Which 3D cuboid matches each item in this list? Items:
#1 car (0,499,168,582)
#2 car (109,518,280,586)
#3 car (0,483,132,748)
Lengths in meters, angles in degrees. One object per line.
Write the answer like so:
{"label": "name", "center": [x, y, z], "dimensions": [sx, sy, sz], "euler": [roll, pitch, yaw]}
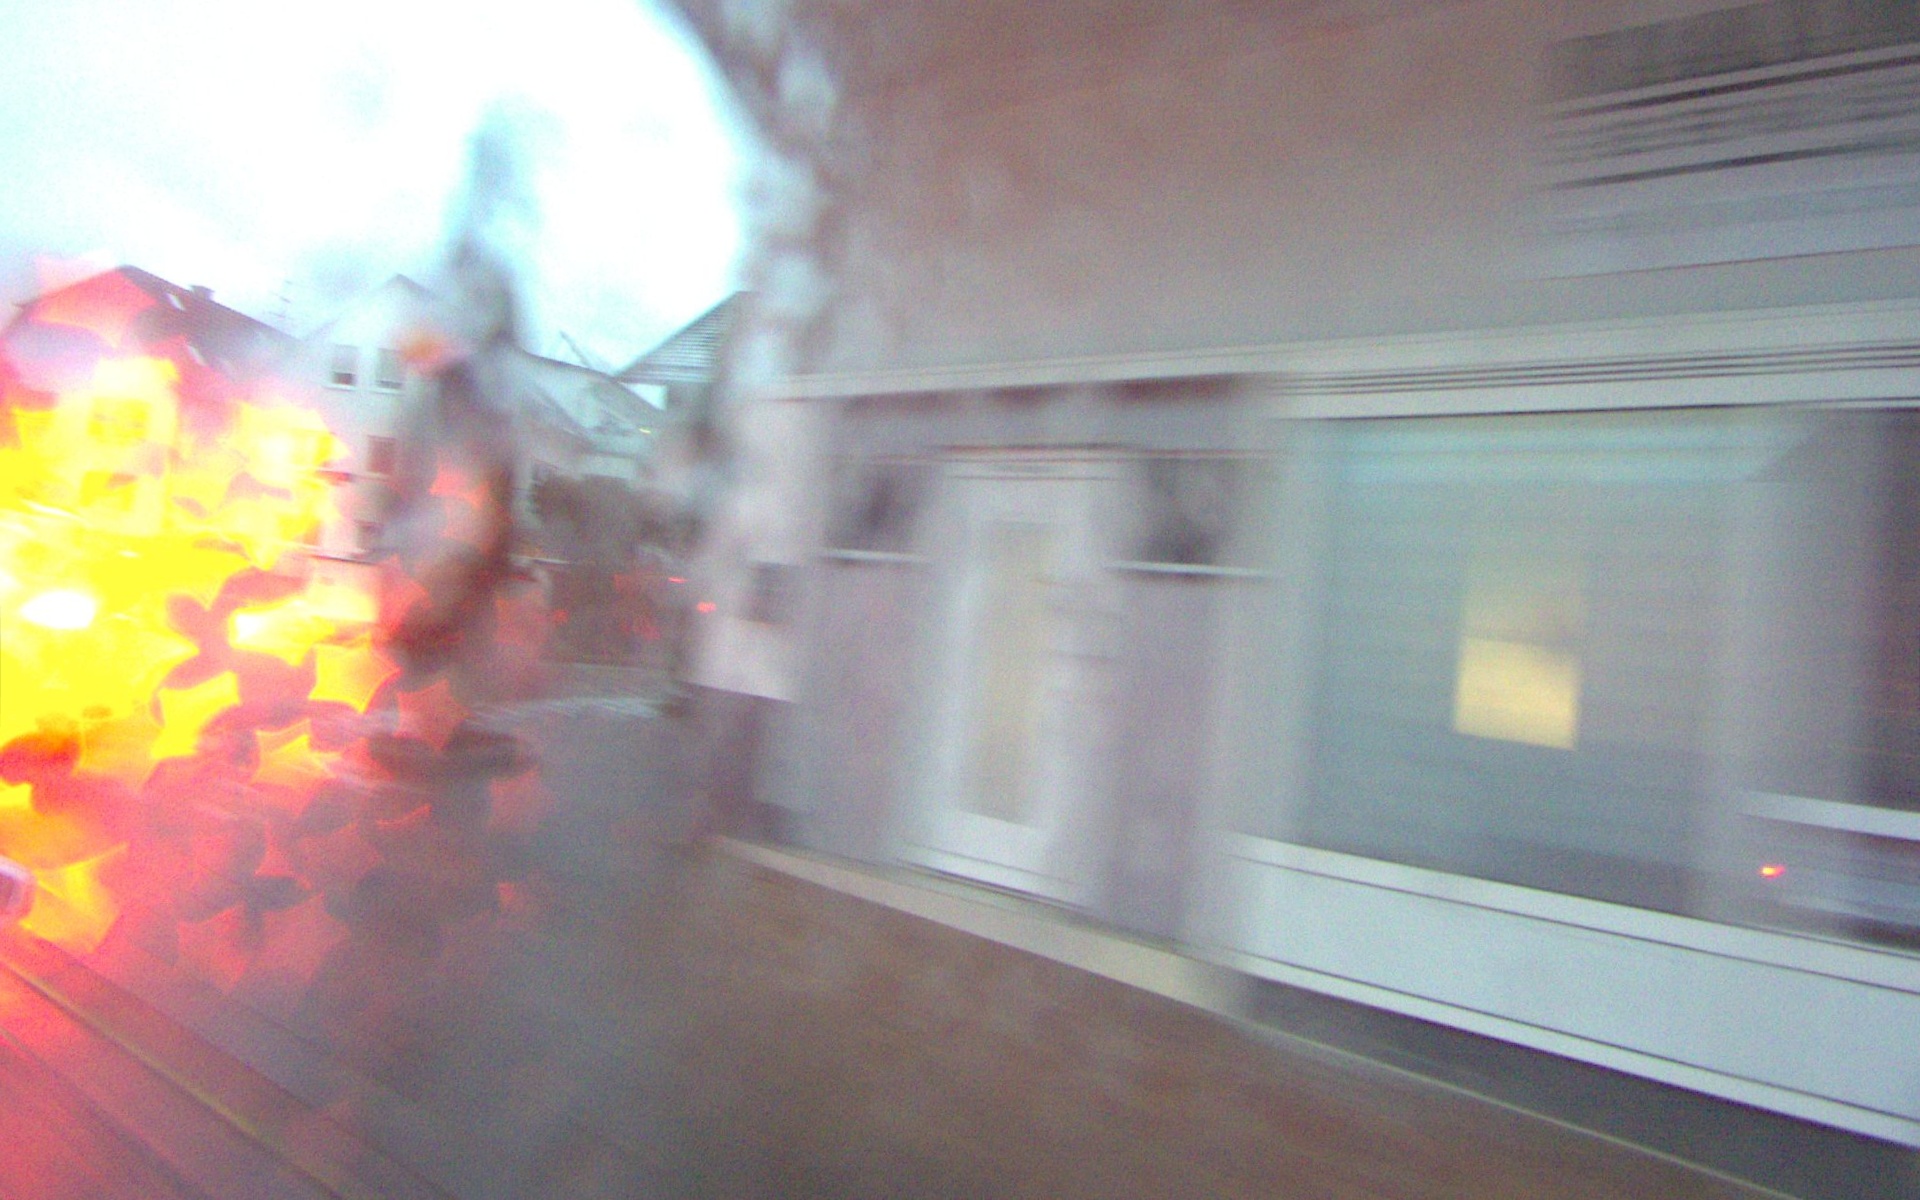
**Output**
{"label": "car", "center": [-23.173, -1.567, 25.676], "dimensions": [4.465, 1.649, 1.815], "euler": [7, 0, 3]}
{"label": "car", "center": [-23.883, -1.478, 31.477], "dimensions": [3.925, 1.586, 1.815], "euler": [7, 0, 3]}
{"label": "car", "center": [-6.859, -0.057, 6.902], "dimensions": [1.539, 1.483, 3.661], "euler": [8, -2, -37]}
